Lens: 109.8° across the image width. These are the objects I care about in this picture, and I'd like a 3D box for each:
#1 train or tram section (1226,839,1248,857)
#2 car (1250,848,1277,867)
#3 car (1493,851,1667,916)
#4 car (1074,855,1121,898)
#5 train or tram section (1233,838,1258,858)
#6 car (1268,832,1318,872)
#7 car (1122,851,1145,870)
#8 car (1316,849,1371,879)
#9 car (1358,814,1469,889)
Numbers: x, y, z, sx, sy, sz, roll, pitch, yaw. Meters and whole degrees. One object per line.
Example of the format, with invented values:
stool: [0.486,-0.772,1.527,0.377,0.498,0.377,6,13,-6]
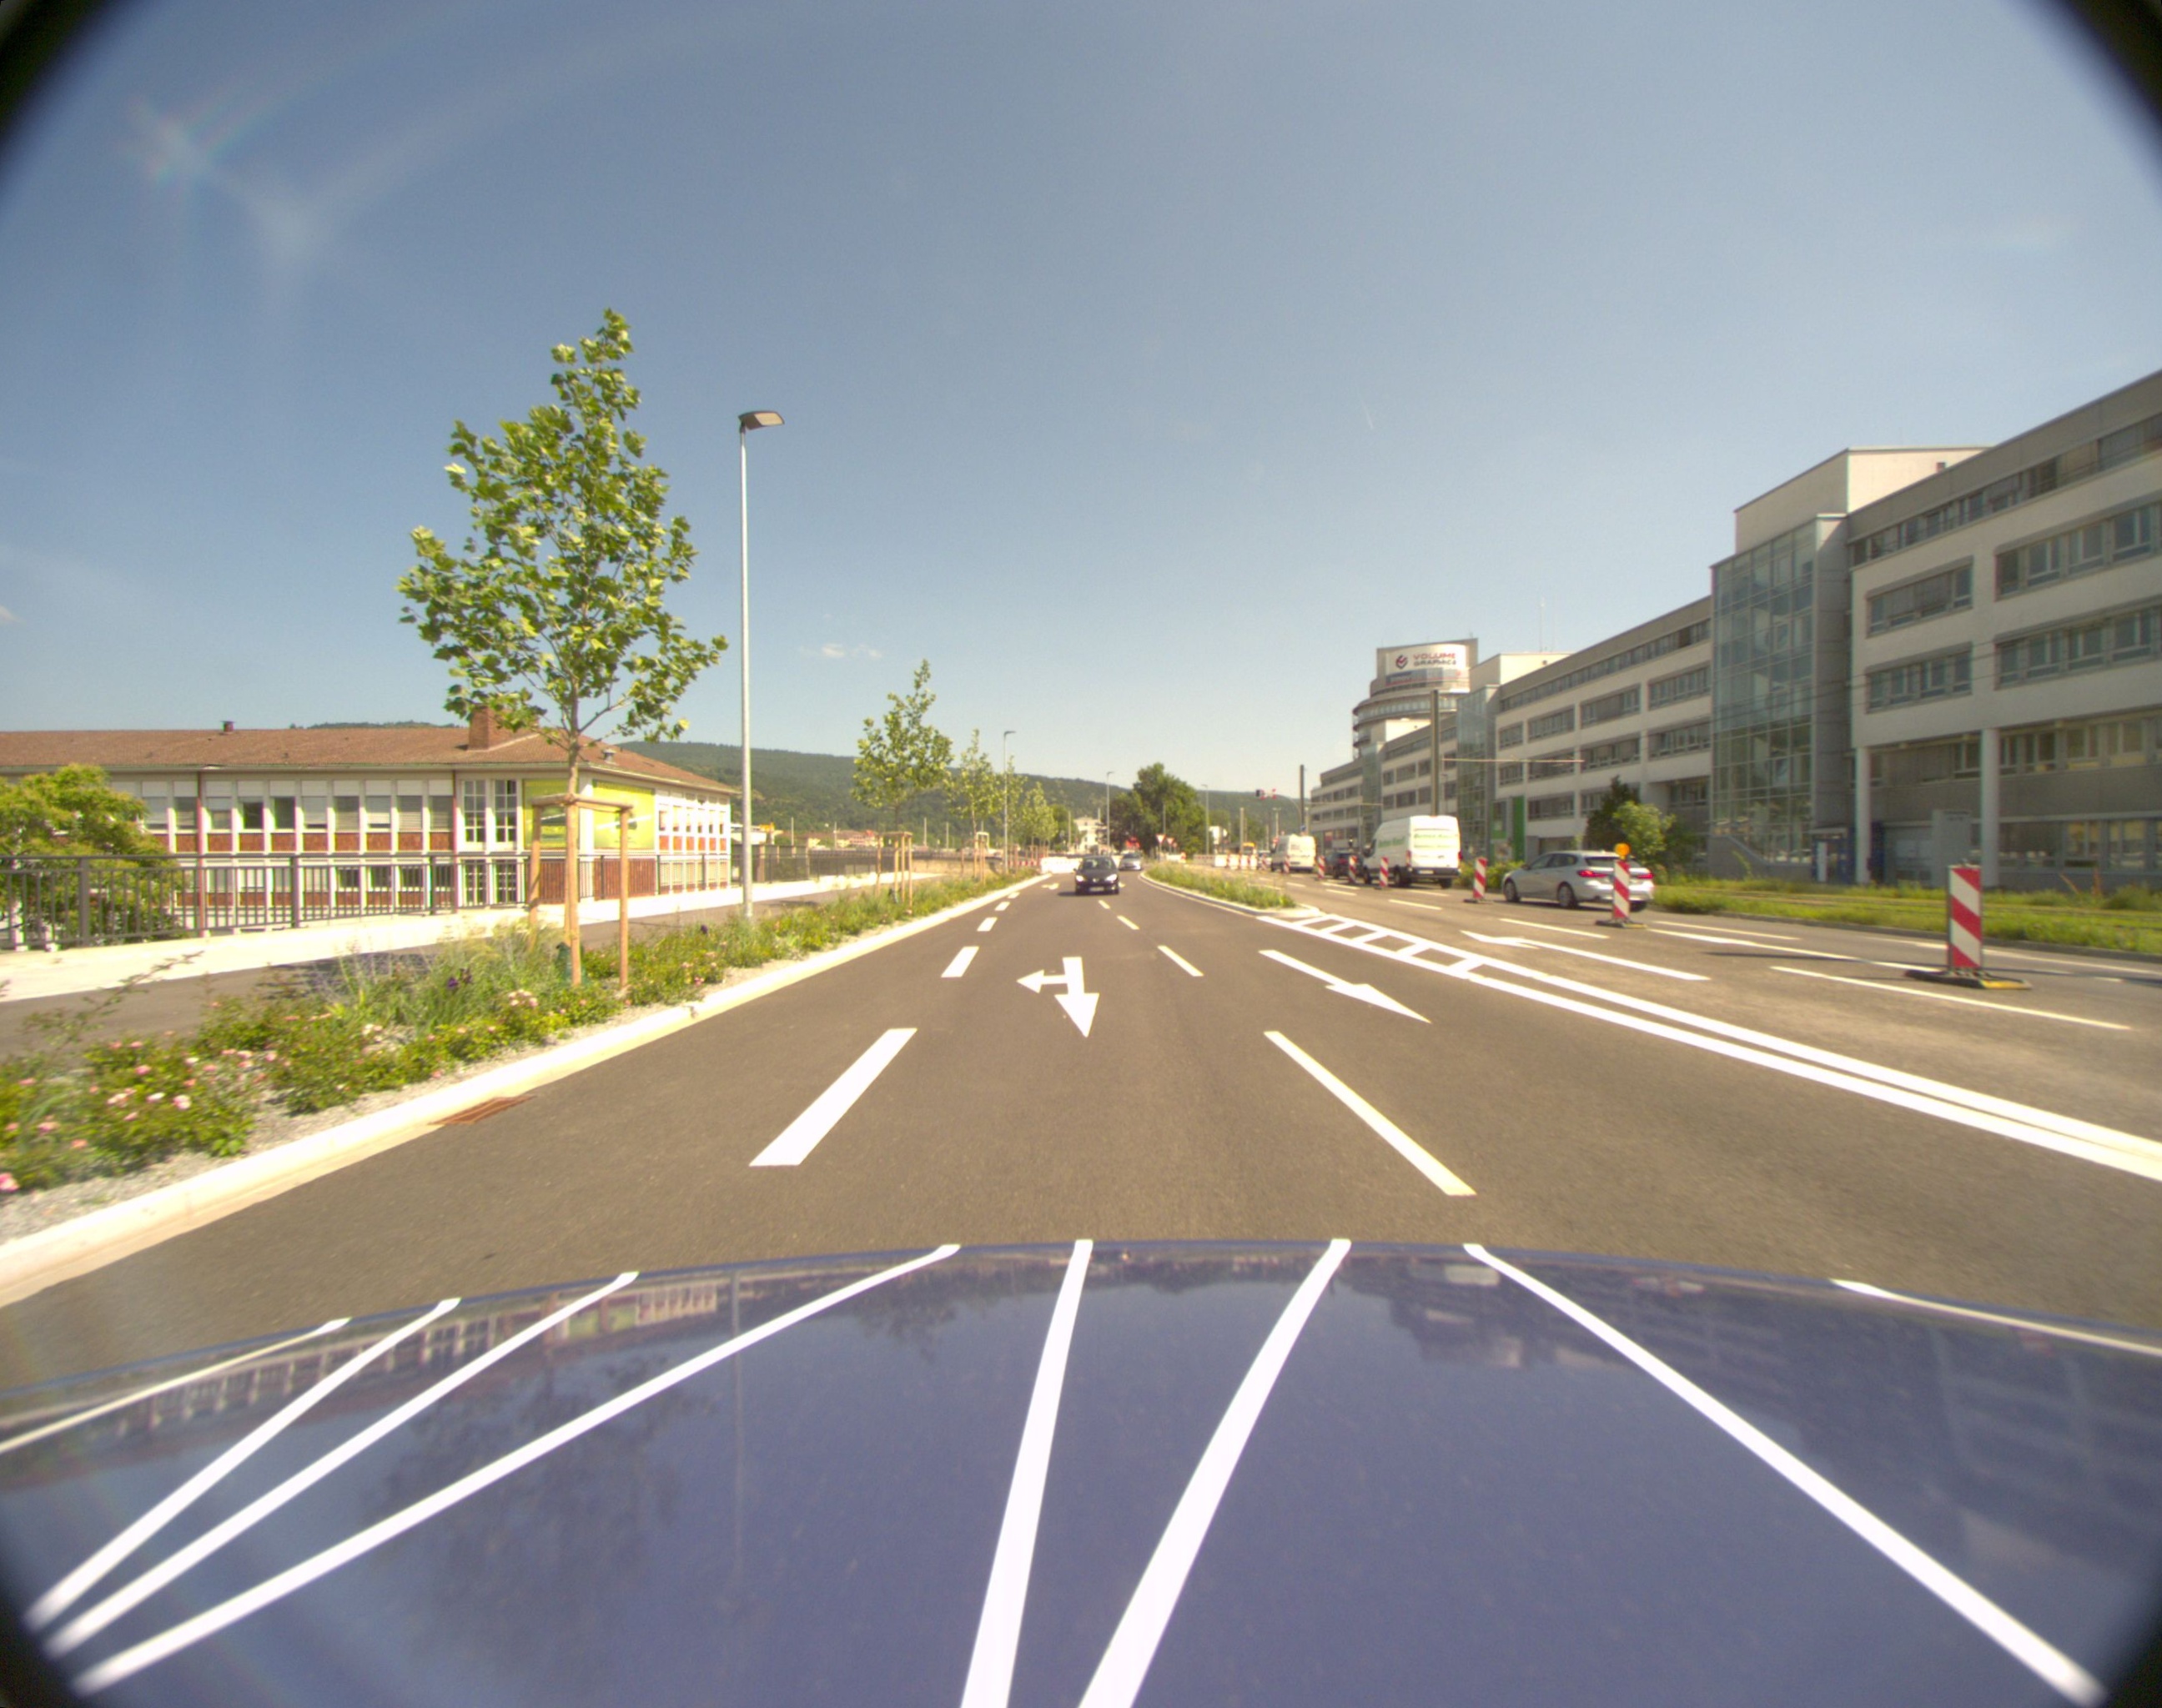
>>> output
train or tram section: [30.654,-1.146,149.909,2.630,3.430,11.783,-2,0,4]
car: [15.256,0.268,63.623,1.584,1.532,3.979,2,0,5]
car: [12.562,0.657,19.527,1.677,1.435,4.469,1,1,3]
car: [0.607,0.768,27.762,1.618,1.433,3.706,0,1,1]
train or tram section: [29.822,-1.062,138.135,2.630,3.430,11.783,-2,0,4]
car: [14.627,-0.154,52.843,2.035,2.564,6.196,2,0,4]
car: [4.193,0.487,61.124,1.618,1.433,3.768,0,1,1]
car: [13.590,0.497,39.552,1.549,1.448,4.193,2,1,3]
car: [13.363,-0.121,31.055,2.082,2.724,5.986,1,1,2]
